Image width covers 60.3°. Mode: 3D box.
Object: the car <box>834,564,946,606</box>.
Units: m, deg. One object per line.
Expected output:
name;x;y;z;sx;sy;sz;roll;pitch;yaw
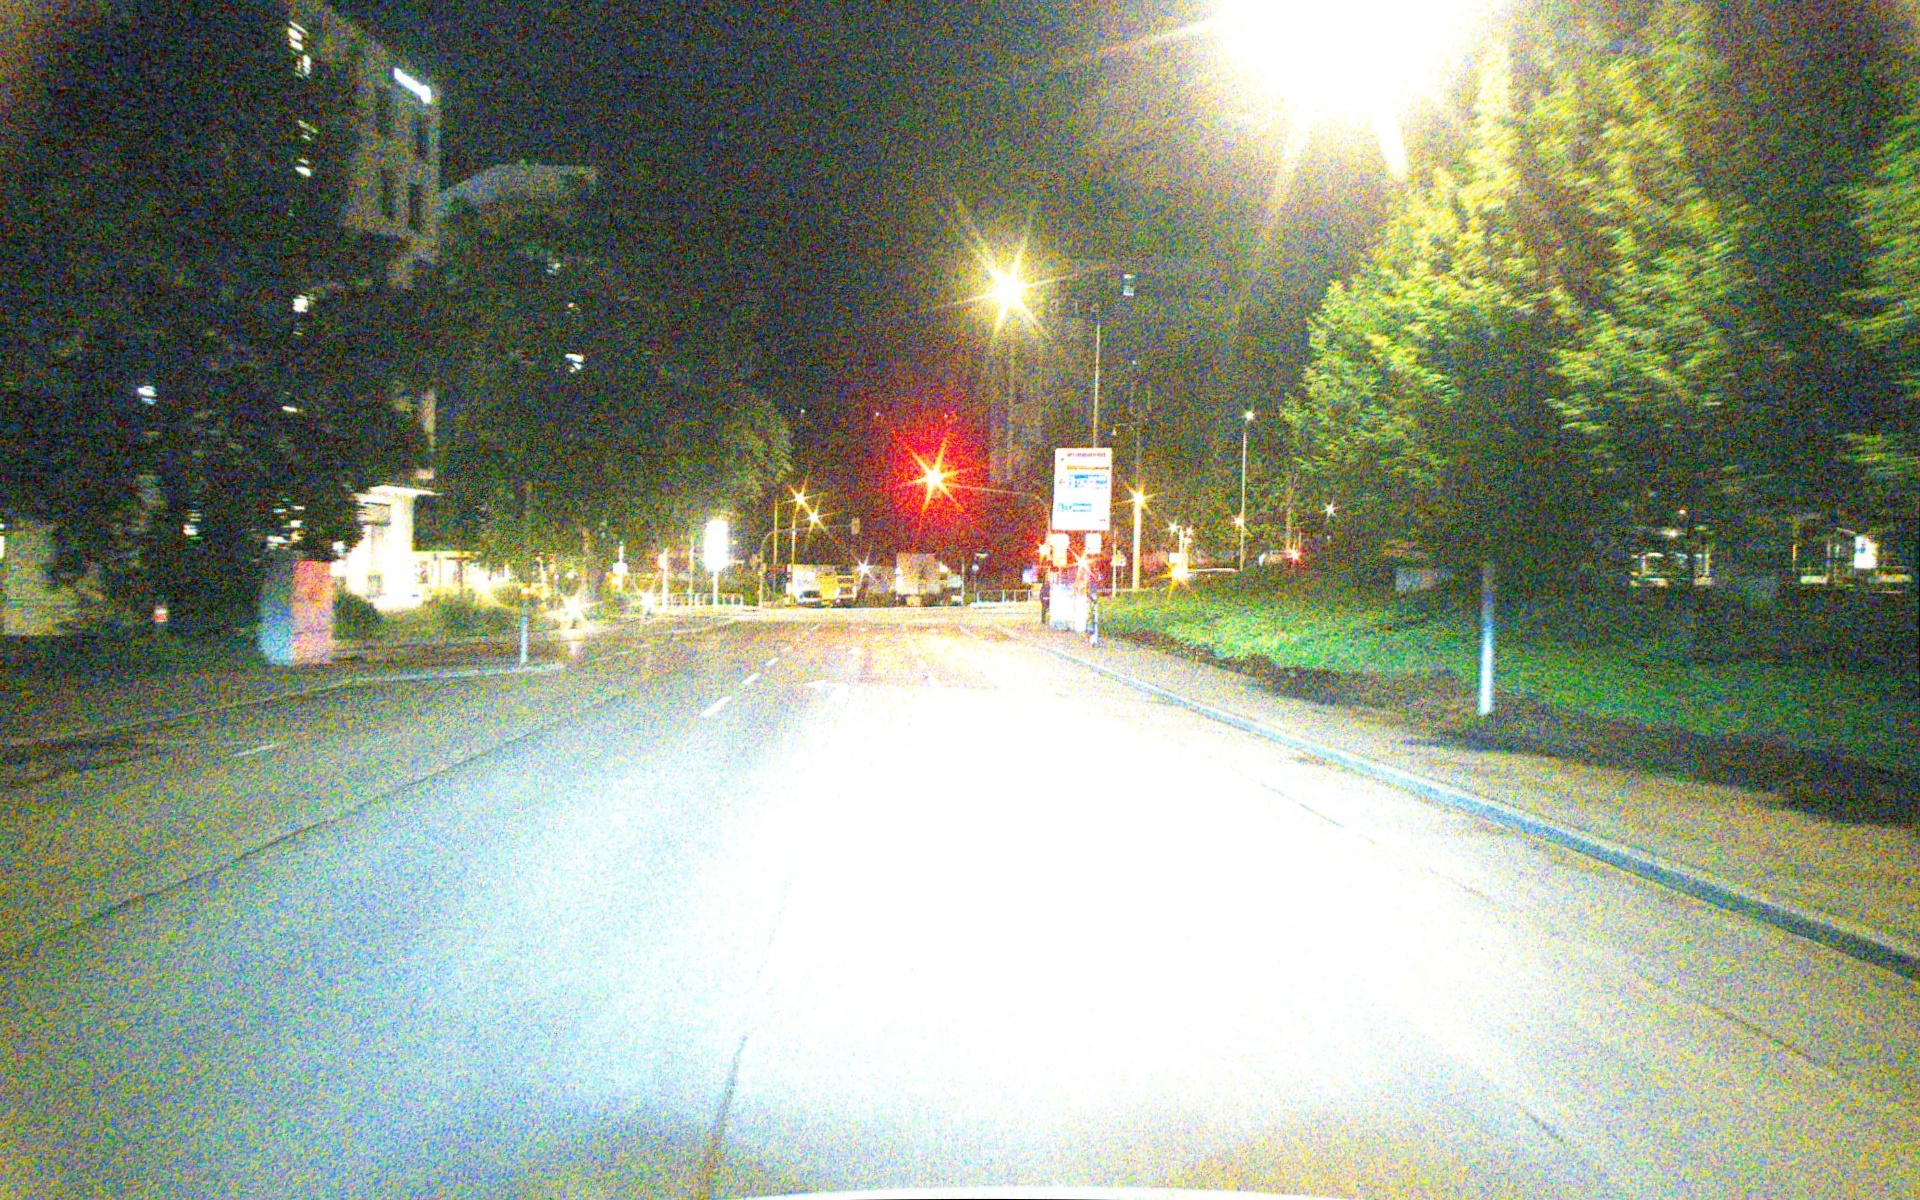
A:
car;-8.155;-1.699;191.709;12.186;4.792;4.788;0;0;-17

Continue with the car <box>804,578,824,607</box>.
car;-15.817;-0.828;178.501;1.956;3.026;3.993;0;0;-8

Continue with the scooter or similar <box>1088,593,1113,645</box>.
scooter or similar;3.581;0.474;42.216;0.484;1.284;1.319;-2;1;-1

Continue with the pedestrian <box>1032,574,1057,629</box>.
pedestrian;3.106;0.046;60.903;0.726;2.016;0.622;0;0;-19

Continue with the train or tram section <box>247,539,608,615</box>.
train or tram section;-28.766;-1.225;89.667;18.772;3.890;2.925;0;0;3
